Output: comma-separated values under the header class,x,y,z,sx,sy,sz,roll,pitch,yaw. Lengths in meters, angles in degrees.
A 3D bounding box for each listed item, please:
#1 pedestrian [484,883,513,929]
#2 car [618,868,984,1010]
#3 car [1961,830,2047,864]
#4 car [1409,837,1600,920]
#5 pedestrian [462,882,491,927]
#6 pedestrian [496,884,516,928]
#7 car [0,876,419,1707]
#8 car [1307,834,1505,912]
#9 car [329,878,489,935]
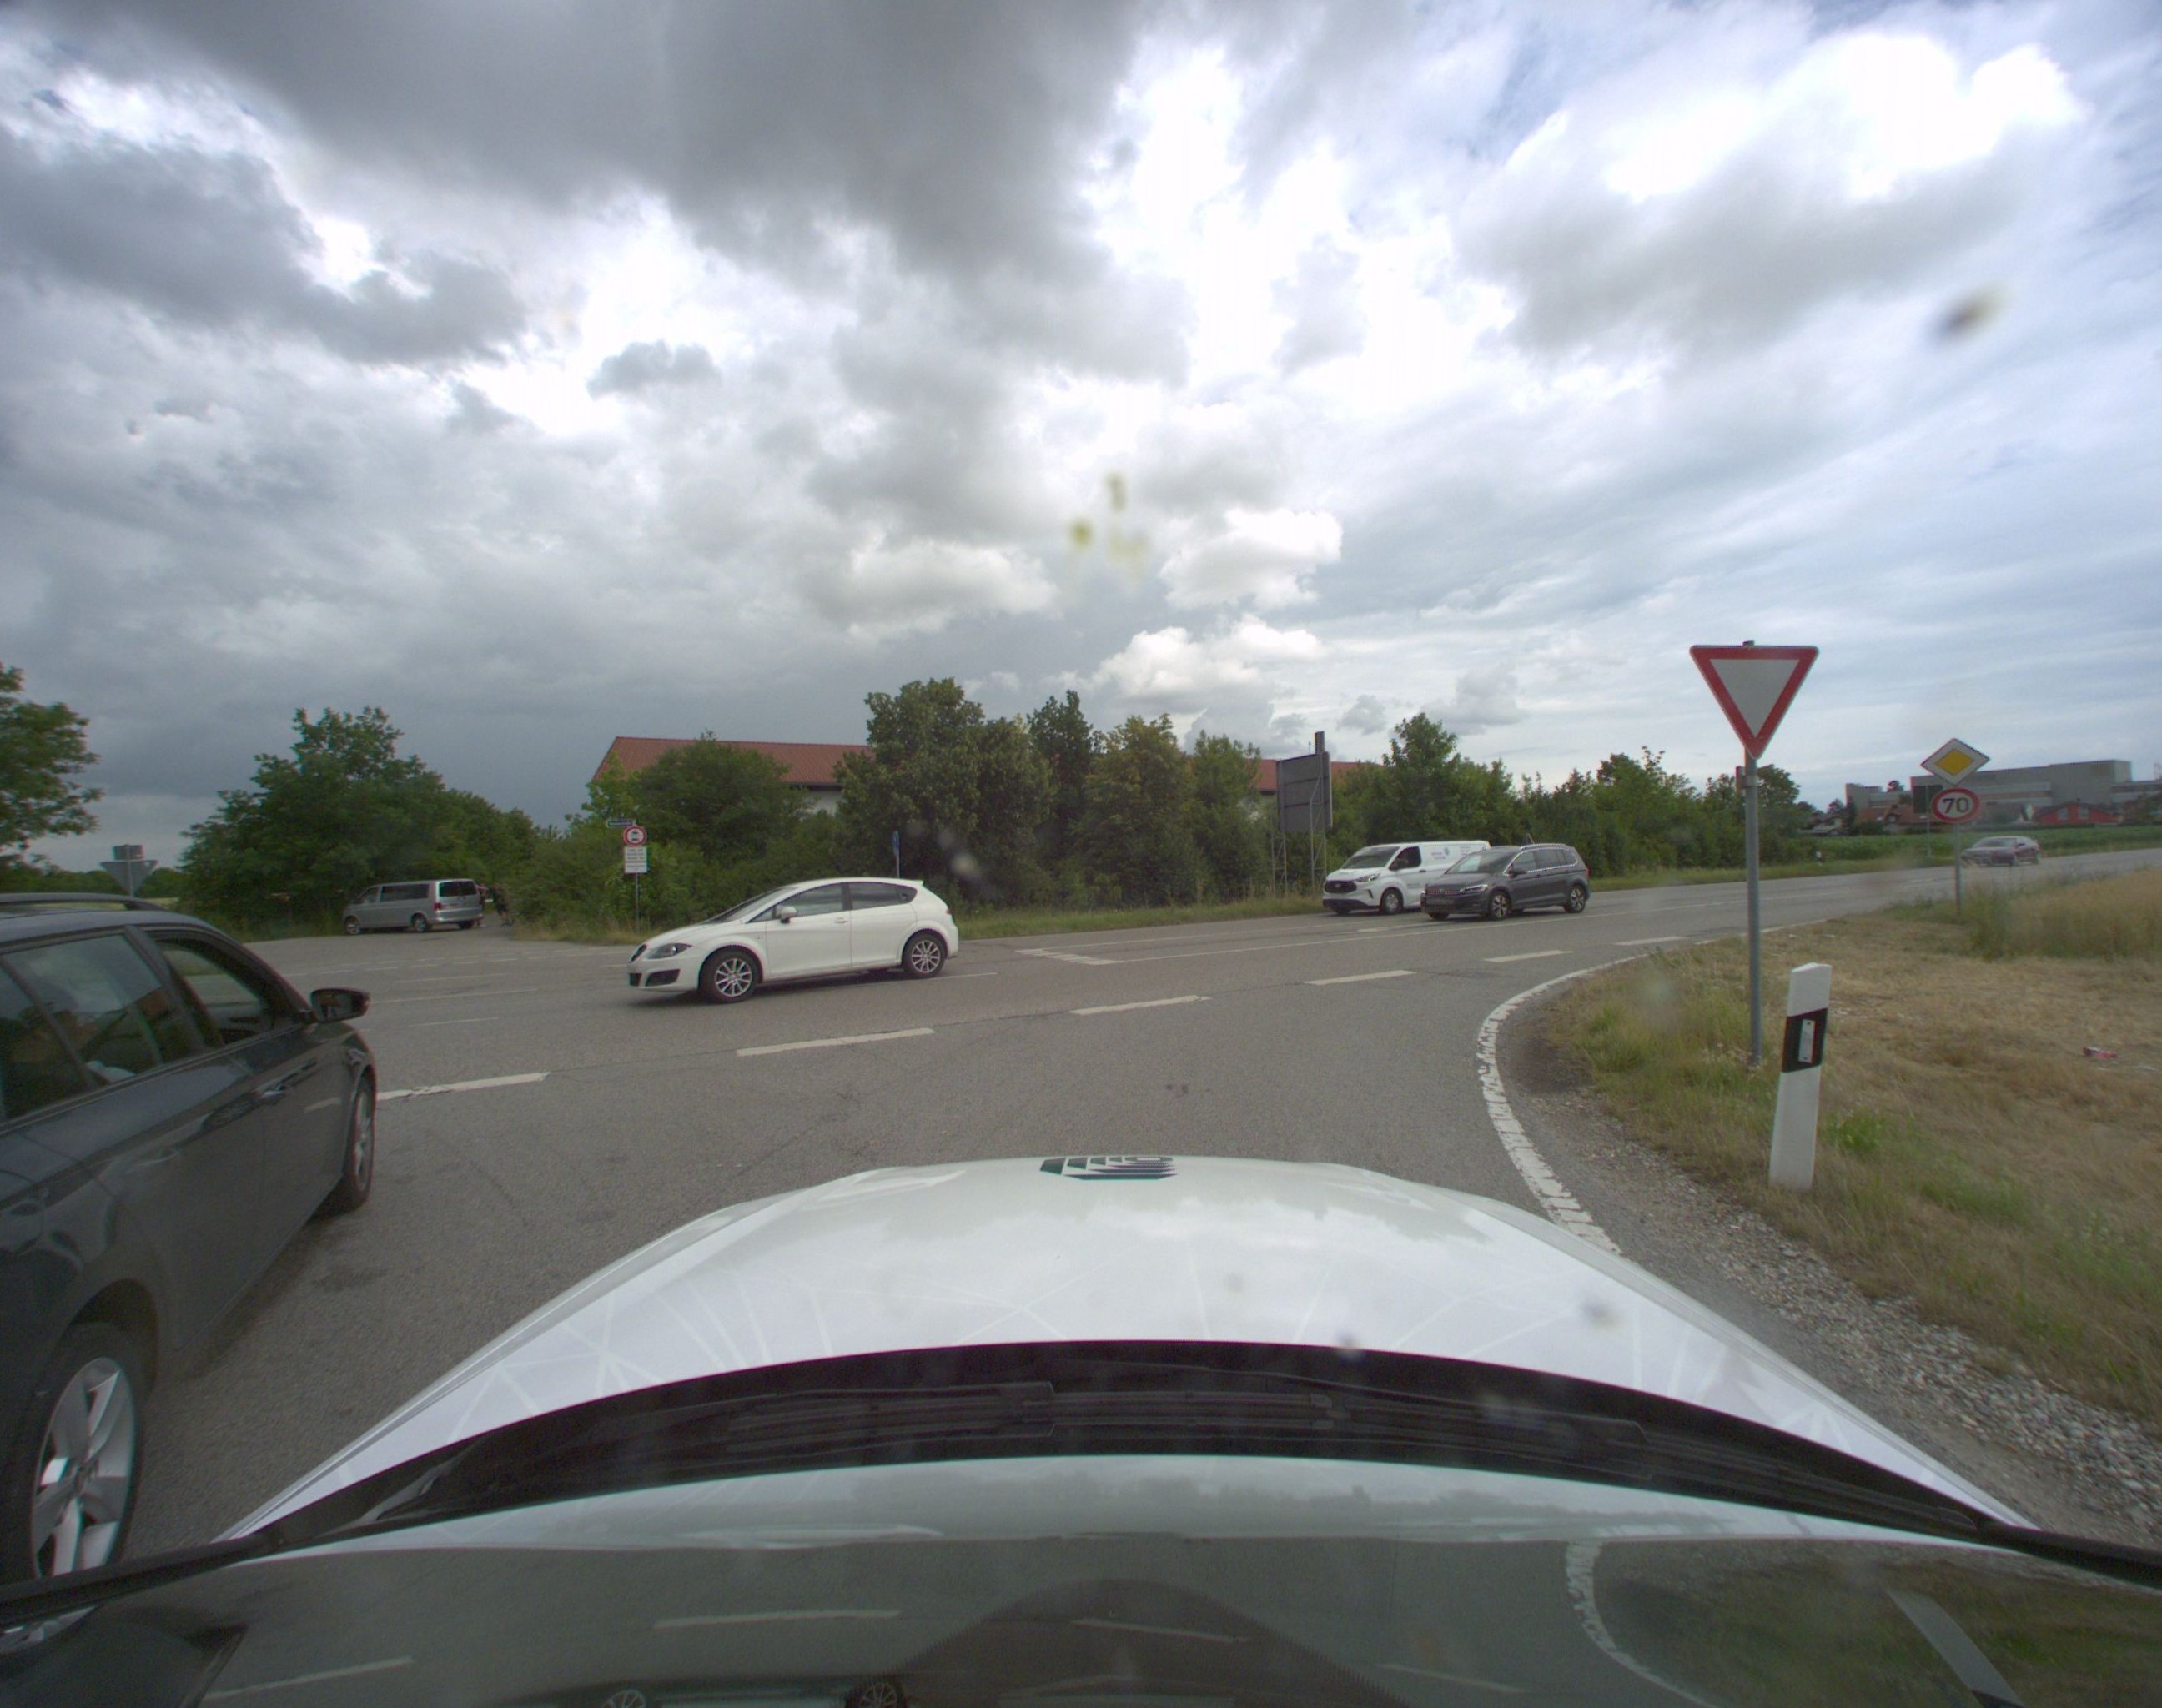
class,x,y,z,sx,sy,sz,roll,pitch,yaw
pedestrian,-22.845,2.013,31.947,0.726,1.723,0.786,-2,-1,-22
car,-3.683,1.009,11.120,4.334,1.408,1.799,-2,-1,-39
car,44.680,-0.345,39.410,4.097,1.402,1.664,-2,-2,-26
car,9.939,0.540,19.069,4.300,1.658,1.738,-2,-2,-27
pedestrian,-24.101,2.015,32.475,0.703,1.723,0.728,-2,-1,-19
pedestrian,-23.545,2.123,33.375,0.492,1.746,0.638,-2,0,-22
car,-3.252,0.812,2.241,1.725,1.447,4.075,0,-1,-32
car,9.221,0.480,23.008,5.402,1.886,2.094,-2,-1,-27
car,-25.950,2.005,31.492,5.046,1.886,2.121,-3,0,15
